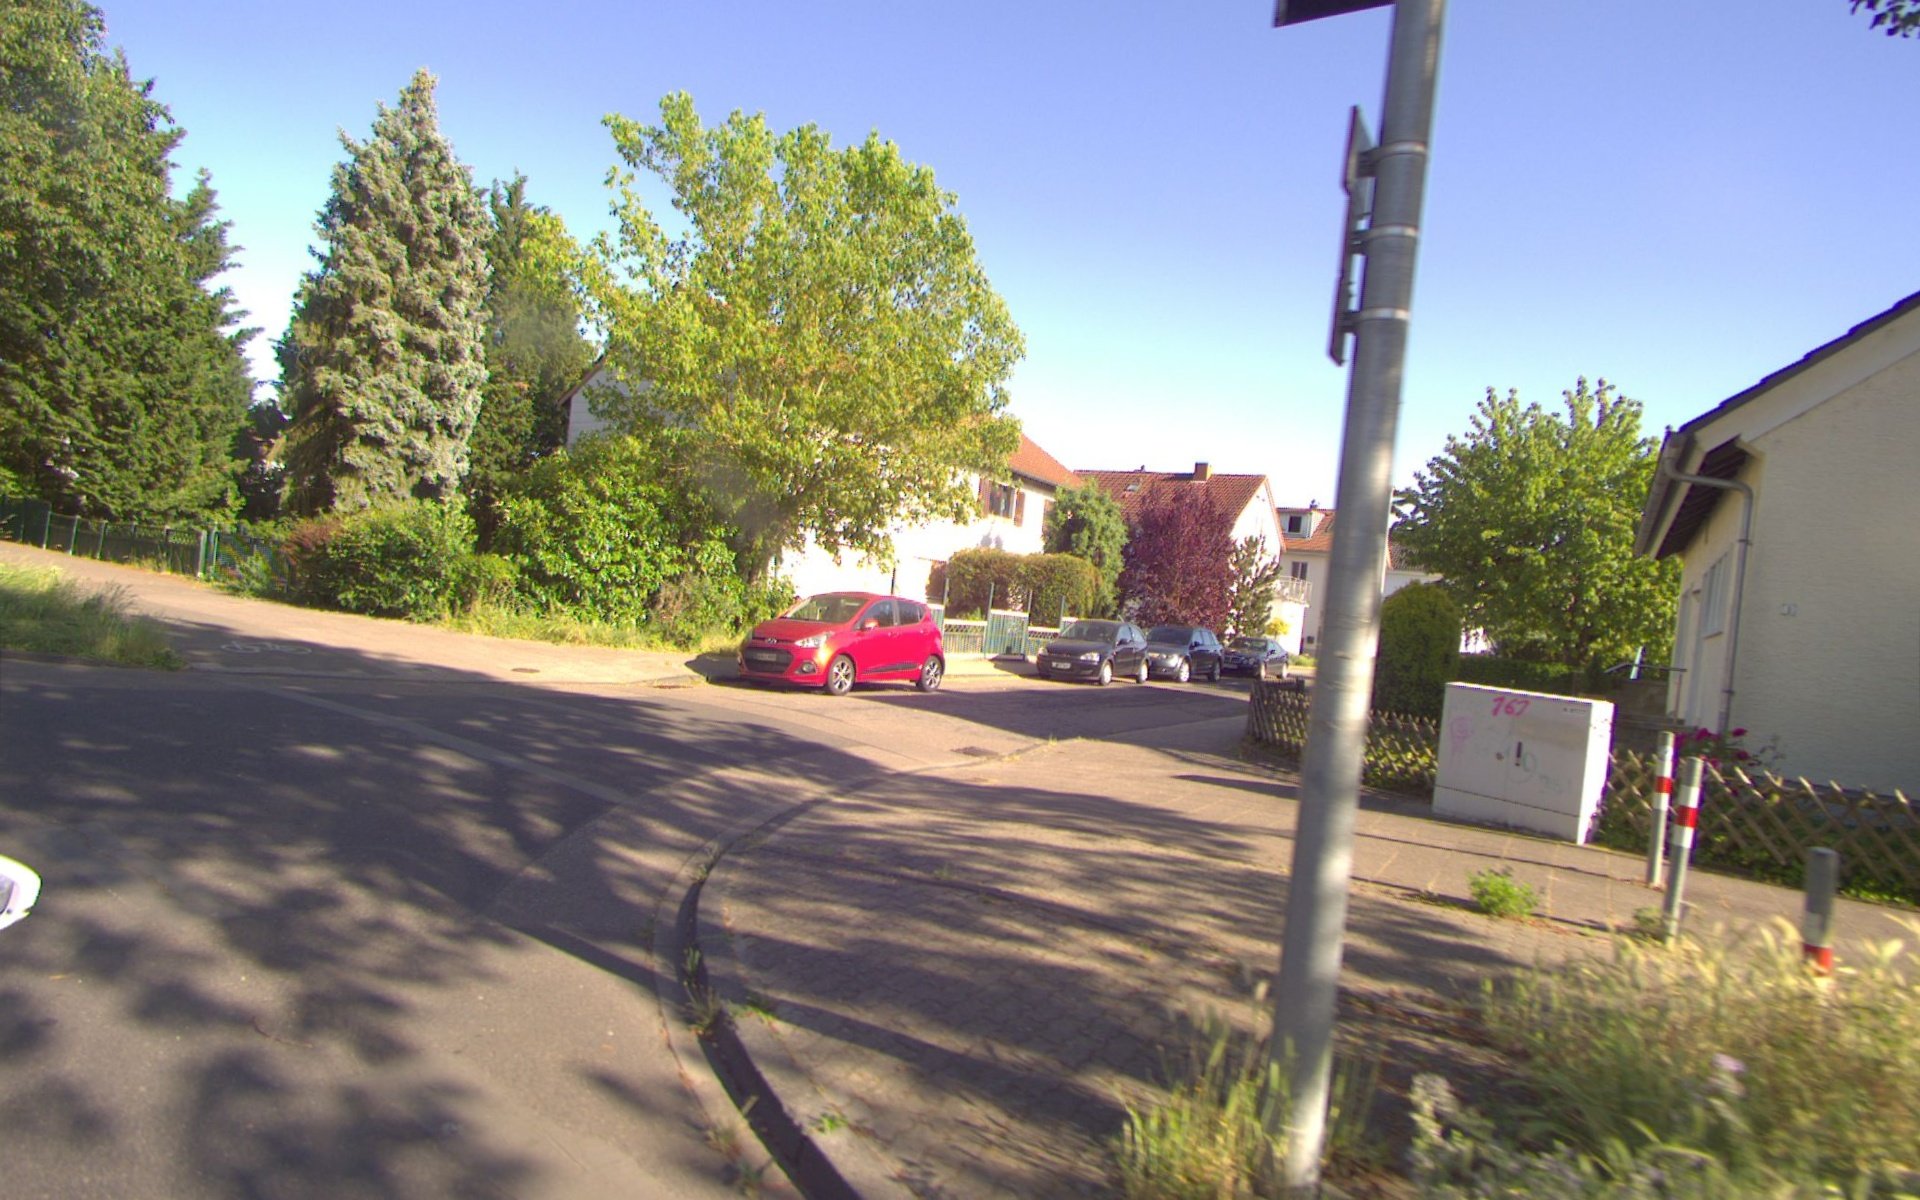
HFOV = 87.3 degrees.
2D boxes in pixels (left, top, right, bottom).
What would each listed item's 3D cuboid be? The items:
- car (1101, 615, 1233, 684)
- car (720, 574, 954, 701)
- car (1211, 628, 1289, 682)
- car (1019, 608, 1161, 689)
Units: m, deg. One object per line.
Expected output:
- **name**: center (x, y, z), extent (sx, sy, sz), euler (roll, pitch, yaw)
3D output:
- **car**: center (5.676, 1.375, 27.212), extent (1.859, 1.529, 4.300), euler (6, 0, 35)
- **car**: center (-1.736, 0.601, 15.245), extent (1.612, 1.529, 3.547), euler (7, 0, 29)
- **car**: center (9.595, 1.826, 33.097), extent (1.612, 1.529, 3.547), euler (6, -1, 29)
- **car**: center (3.086, 1.135, 23.193), extent (1.811, 1.529, 3.960), euler (6, 0, 29)
